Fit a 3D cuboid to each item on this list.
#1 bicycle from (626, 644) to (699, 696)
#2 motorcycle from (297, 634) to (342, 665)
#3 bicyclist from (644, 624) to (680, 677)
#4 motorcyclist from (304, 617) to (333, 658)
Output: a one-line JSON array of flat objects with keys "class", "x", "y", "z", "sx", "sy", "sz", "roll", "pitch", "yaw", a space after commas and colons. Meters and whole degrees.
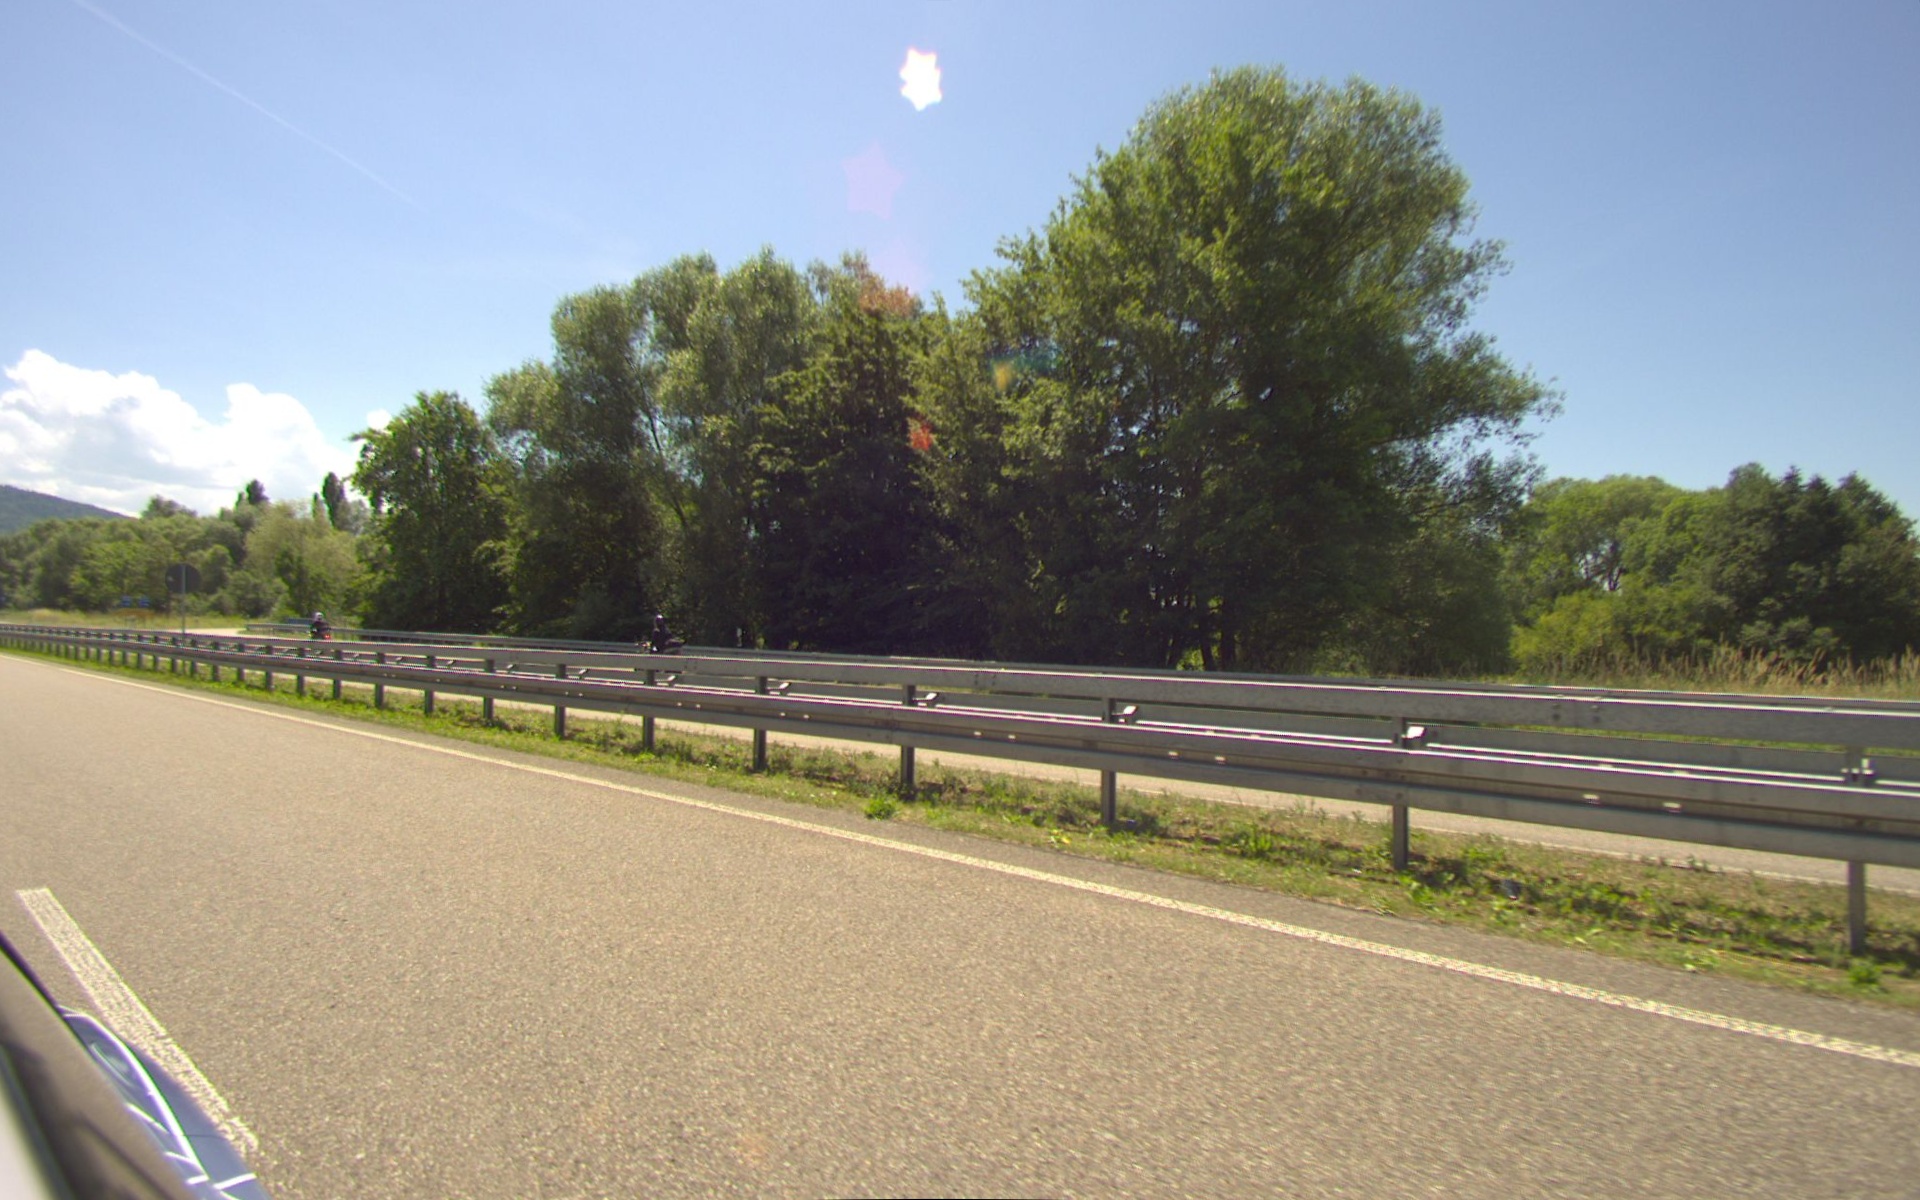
[{"class": "bicycle", "x": -7.317, "y": 1.696, "z": 24.810, "sx": 2.279, "sy": 1.166, "sz": 0.607, "roll": -1, "pitch": -1, "yaw": 41}, {"class": "motorcycle", "x": -24.054, "y": 1.834, "z": 37.971, "sx": 2.665, "sy": 1.072, "sz": 0.719, "roll": -1, "pitch": -1, "yaw": 41}, {"class": "bicyclist", "x": -7.306, "y": 1.228, "z": 24.810, "sx": 0.607, "sy": 1.287, "sz": 0.607, "roll": -1, "pitch": -1, "yaw": 41}, {"class": "motorcyclist", "x": -24.151, "y": 1.405, "z": 38.085, "sx": 0.809, "sy": 1.493, "sz": 0.710, "roll": -1, "pitch": -1, "yaw": 42}]
